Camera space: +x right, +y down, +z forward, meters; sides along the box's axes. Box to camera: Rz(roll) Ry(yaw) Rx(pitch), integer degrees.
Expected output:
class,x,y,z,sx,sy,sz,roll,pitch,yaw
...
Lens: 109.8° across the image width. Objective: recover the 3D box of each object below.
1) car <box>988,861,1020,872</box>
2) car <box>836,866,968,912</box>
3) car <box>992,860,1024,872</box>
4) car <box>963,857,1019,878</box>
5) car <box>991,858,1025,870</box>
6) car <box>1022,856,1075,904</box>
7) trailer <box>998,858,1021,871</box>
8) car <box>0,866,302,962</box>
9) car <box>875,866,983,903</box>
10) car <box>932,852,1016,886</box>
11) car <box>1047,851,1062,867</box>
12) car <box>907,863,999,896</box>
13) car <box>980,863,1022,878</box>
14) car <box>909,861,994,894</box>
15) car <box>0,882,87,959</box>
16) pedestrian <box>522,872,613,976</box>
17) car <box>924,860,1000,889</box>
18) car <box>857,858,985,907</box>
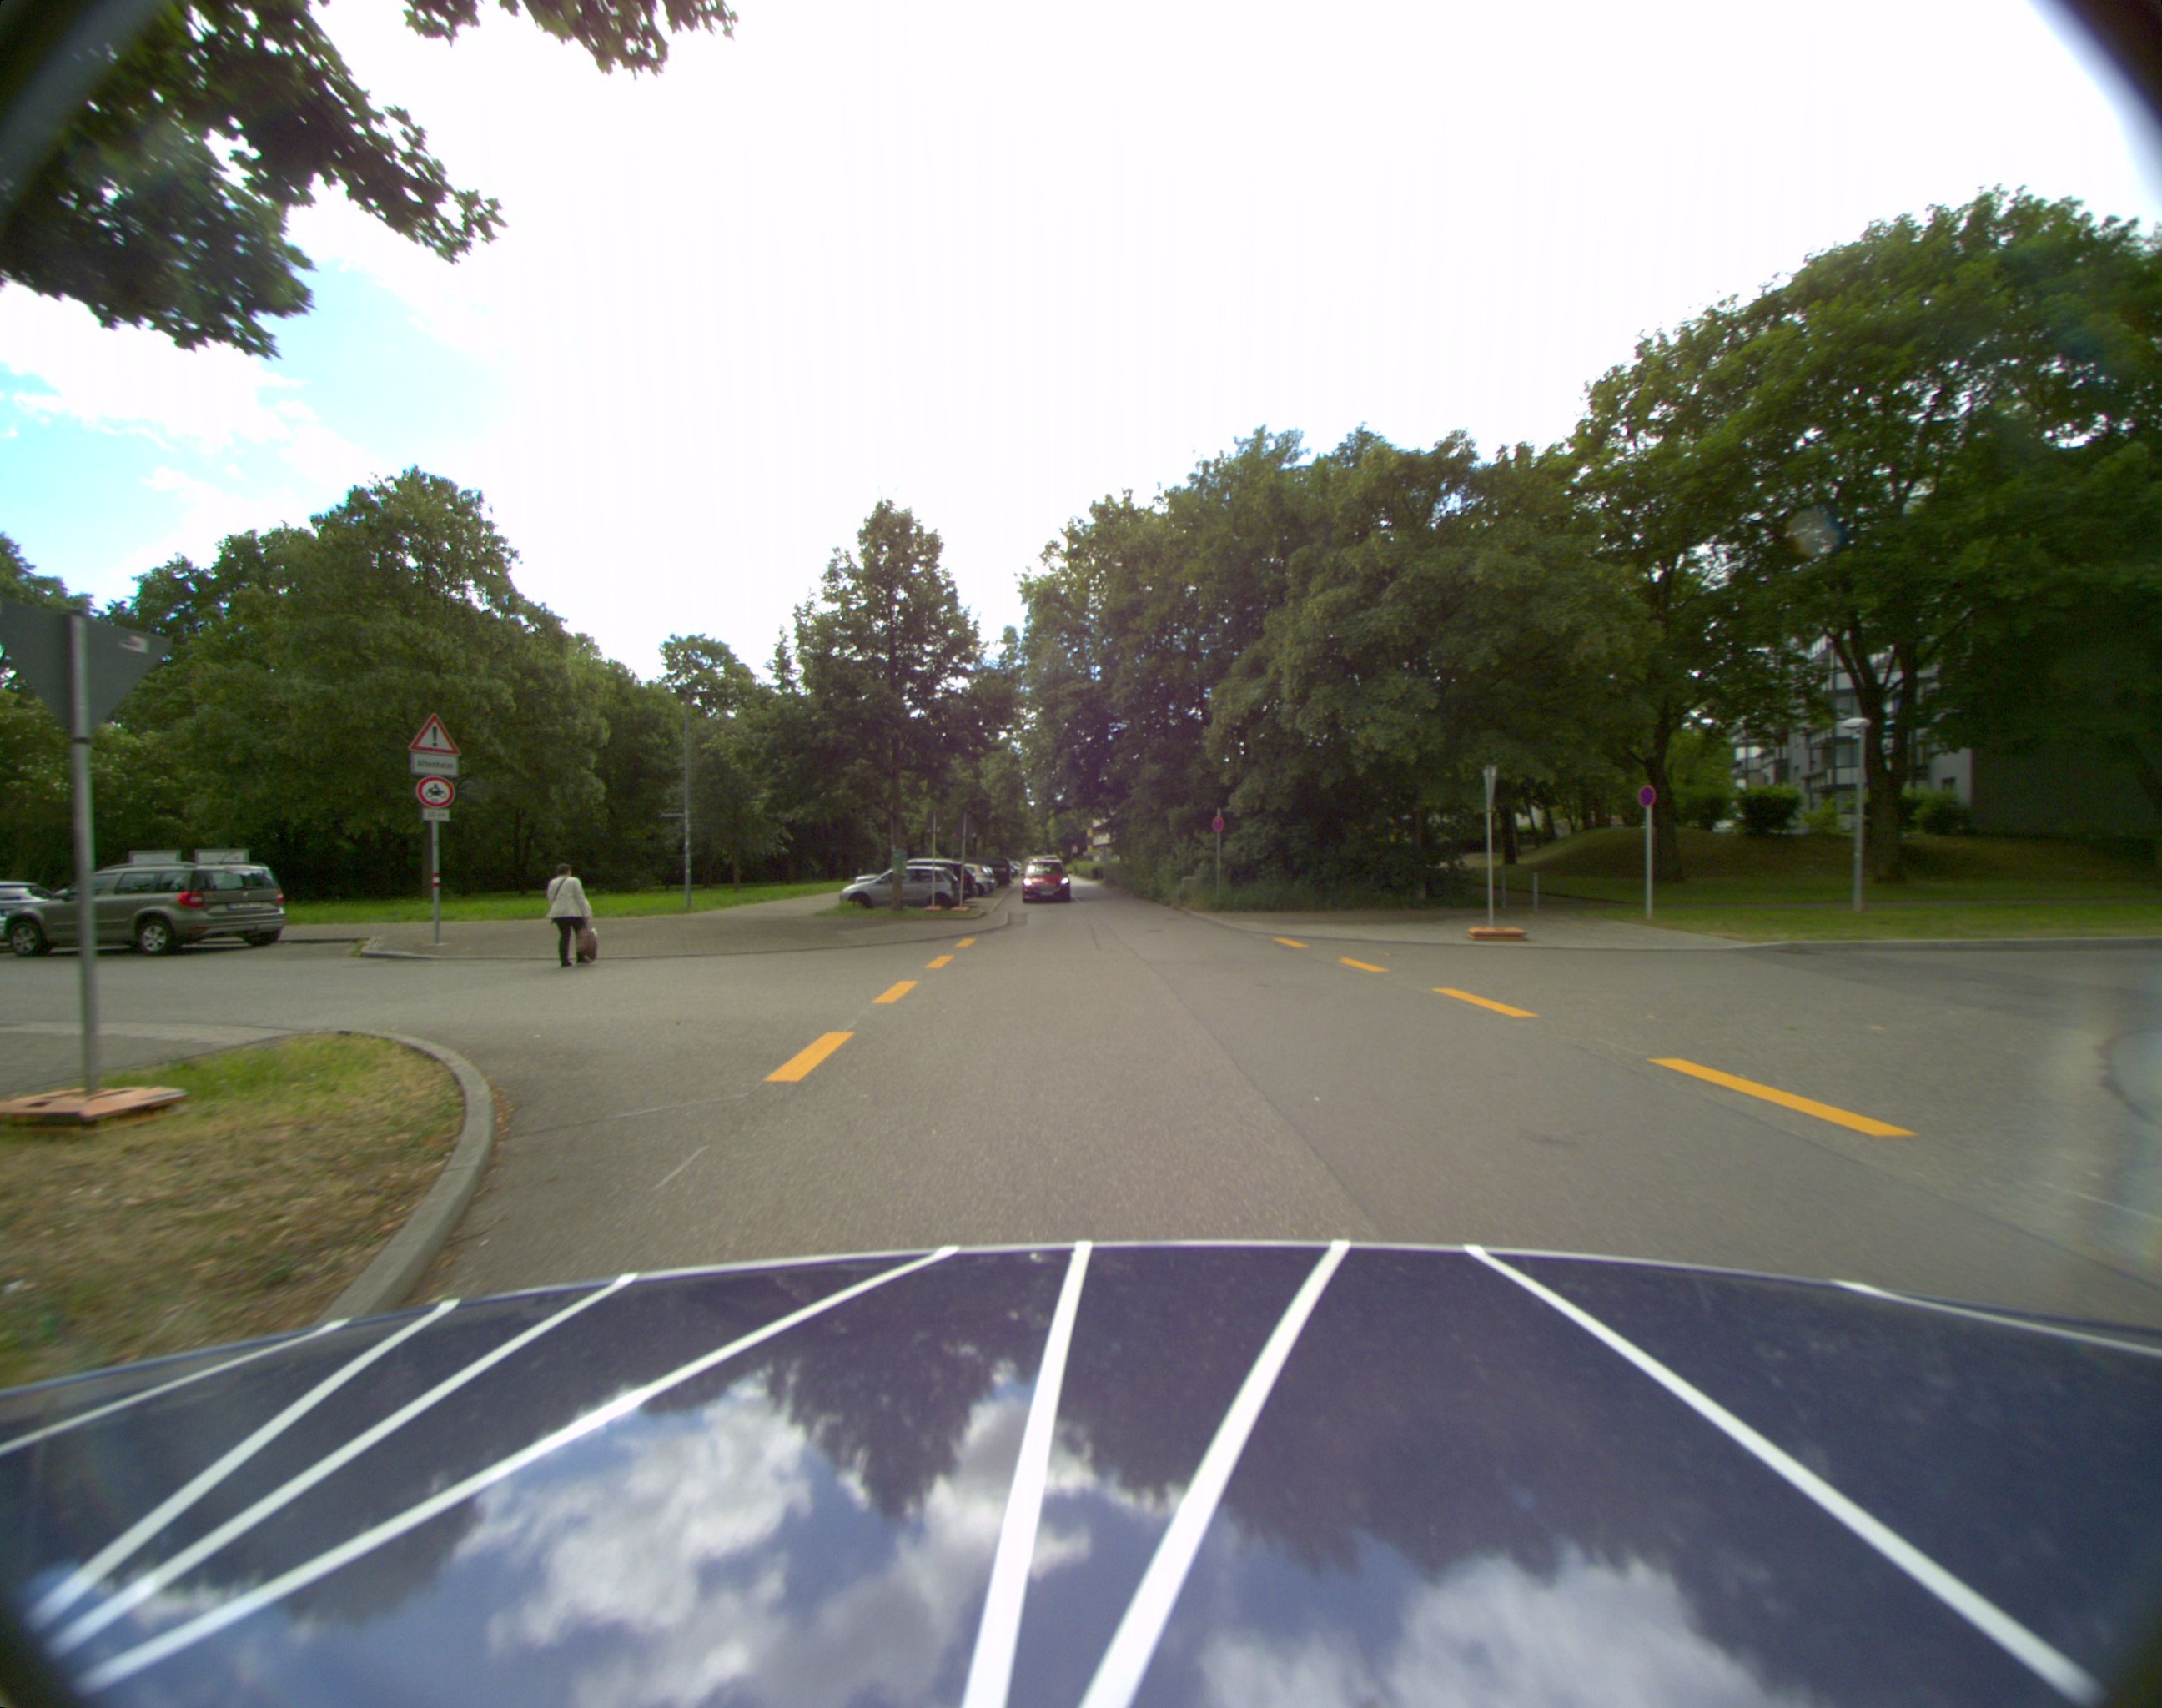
class,x,y,z,sx,sy,sz,roll,pitch,yaw
car,-9.908,1.569,97.641,4.021,1.413,1.791,0,0,-9
car,-5.730,1.116,24.681,3.842,1.395,1.852,0,0,-2
car,-9.633,1.538,100.079,4.125,1.539,1.860,0,0,-6
car,-7.439,1.149,63.192,4.428,1.666,2.082,0,-1,-4
car,-10.571,1.470,110.468,4.830,1.683,1.974,0,0,0
car,-1.354,0.984,30.889,1.919,1.707,5.037,-2,0,-4
trailer,-9.917,1.474,105.358,3.039,1.780,1.562,0,0,-6
car,-17.554,1.091,14.440,3.787,1.658,1.768,-1,0,4
car,-5.920,1.189,29.893,3.842,1.350,1.822,0,0,0
car,-6.633,0.926,47.579,4.968,2.002,2.165,1,0,-2
car,-4.185,0.824,119.630,2.138,2.461,6.276,-2,0,-2
car,-5.831,1.169,34.993,3.998,1.422,1.935,0,0,-4
car,-8.037,1.639,76.240,4.084,1.448,1.851,0,0,-3
car,-6.384,1.148,37.763,3.998,1.519,1.810,0,0,-3
car,-22.673,1.323,14.854,4.402,1.419,1.703,-1,0,3
pedestrian,-8.100,1.080,12.014,0.836,1.567,0.810,-1,0,3
car,-6.633,1.121,42.597,3.972,1.502,1.793,1,0,-2
car,-5.639,0.996,27.187,4.134,1.640,1.980,0,0,0
